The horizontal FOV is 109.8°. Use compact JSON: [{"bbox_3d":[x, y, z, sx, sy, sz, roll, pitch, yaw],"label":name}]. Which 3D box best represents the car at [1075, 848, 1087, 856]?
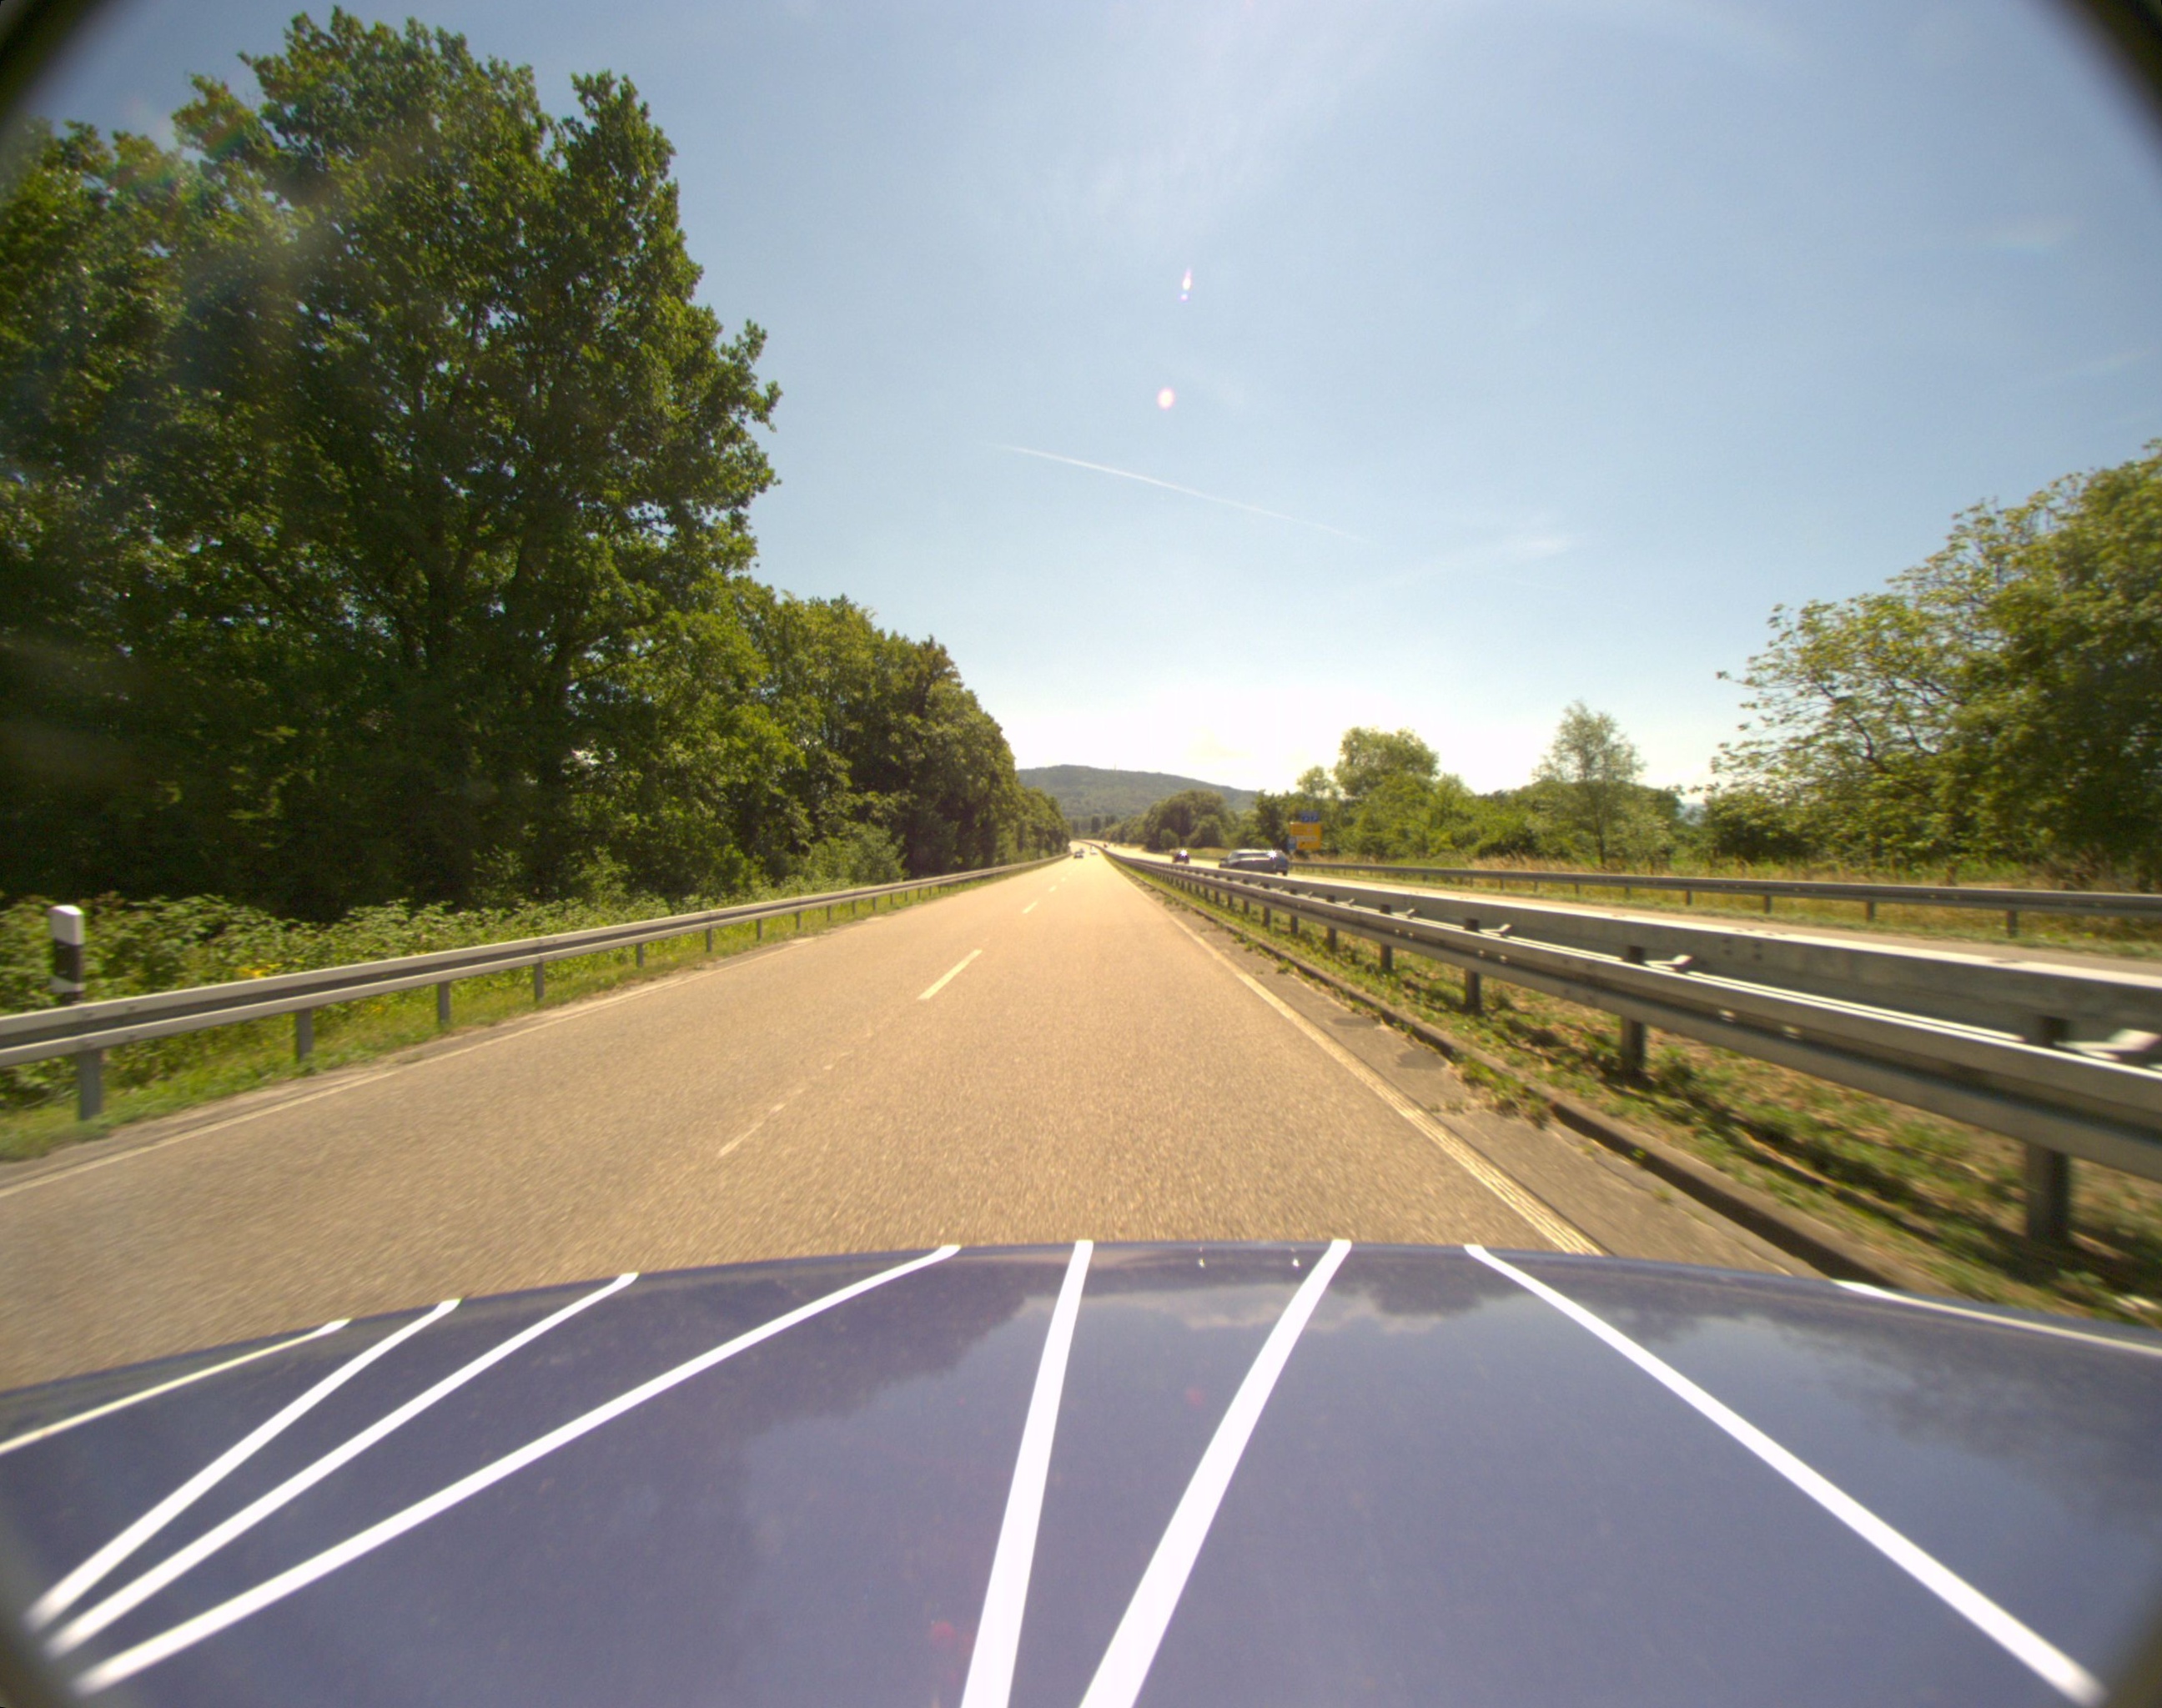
[{"bbox_3d":[0.018,-0.450,150.833,1.908,1.368,3.890,-3,2,3],"label":"car"}]

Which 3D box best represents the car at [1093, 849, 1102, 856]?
[{"bbox_3d":[4.296,-0.363,197.063,1.908,1.687,3.890,-3,2,3],"label":"car"}]

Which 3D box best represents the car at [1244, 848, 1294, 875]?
[{"bbox_3d":[11.316,0.415,46.116,1.817,1.534,4.928,-1,0,0],"label":"car"}]

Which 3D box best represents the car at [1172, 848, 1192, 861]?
[{"bbox_3d":[12.228,0.048,92.063,1.784,1.611,4.505,0,1,0],"label":"car"}]

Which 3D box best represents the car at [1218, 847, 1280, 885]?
[{"bbox_3d":[7.519,0.490,34.426,1.998,1.622,4.553,0,0,3],"label":"car"}]
